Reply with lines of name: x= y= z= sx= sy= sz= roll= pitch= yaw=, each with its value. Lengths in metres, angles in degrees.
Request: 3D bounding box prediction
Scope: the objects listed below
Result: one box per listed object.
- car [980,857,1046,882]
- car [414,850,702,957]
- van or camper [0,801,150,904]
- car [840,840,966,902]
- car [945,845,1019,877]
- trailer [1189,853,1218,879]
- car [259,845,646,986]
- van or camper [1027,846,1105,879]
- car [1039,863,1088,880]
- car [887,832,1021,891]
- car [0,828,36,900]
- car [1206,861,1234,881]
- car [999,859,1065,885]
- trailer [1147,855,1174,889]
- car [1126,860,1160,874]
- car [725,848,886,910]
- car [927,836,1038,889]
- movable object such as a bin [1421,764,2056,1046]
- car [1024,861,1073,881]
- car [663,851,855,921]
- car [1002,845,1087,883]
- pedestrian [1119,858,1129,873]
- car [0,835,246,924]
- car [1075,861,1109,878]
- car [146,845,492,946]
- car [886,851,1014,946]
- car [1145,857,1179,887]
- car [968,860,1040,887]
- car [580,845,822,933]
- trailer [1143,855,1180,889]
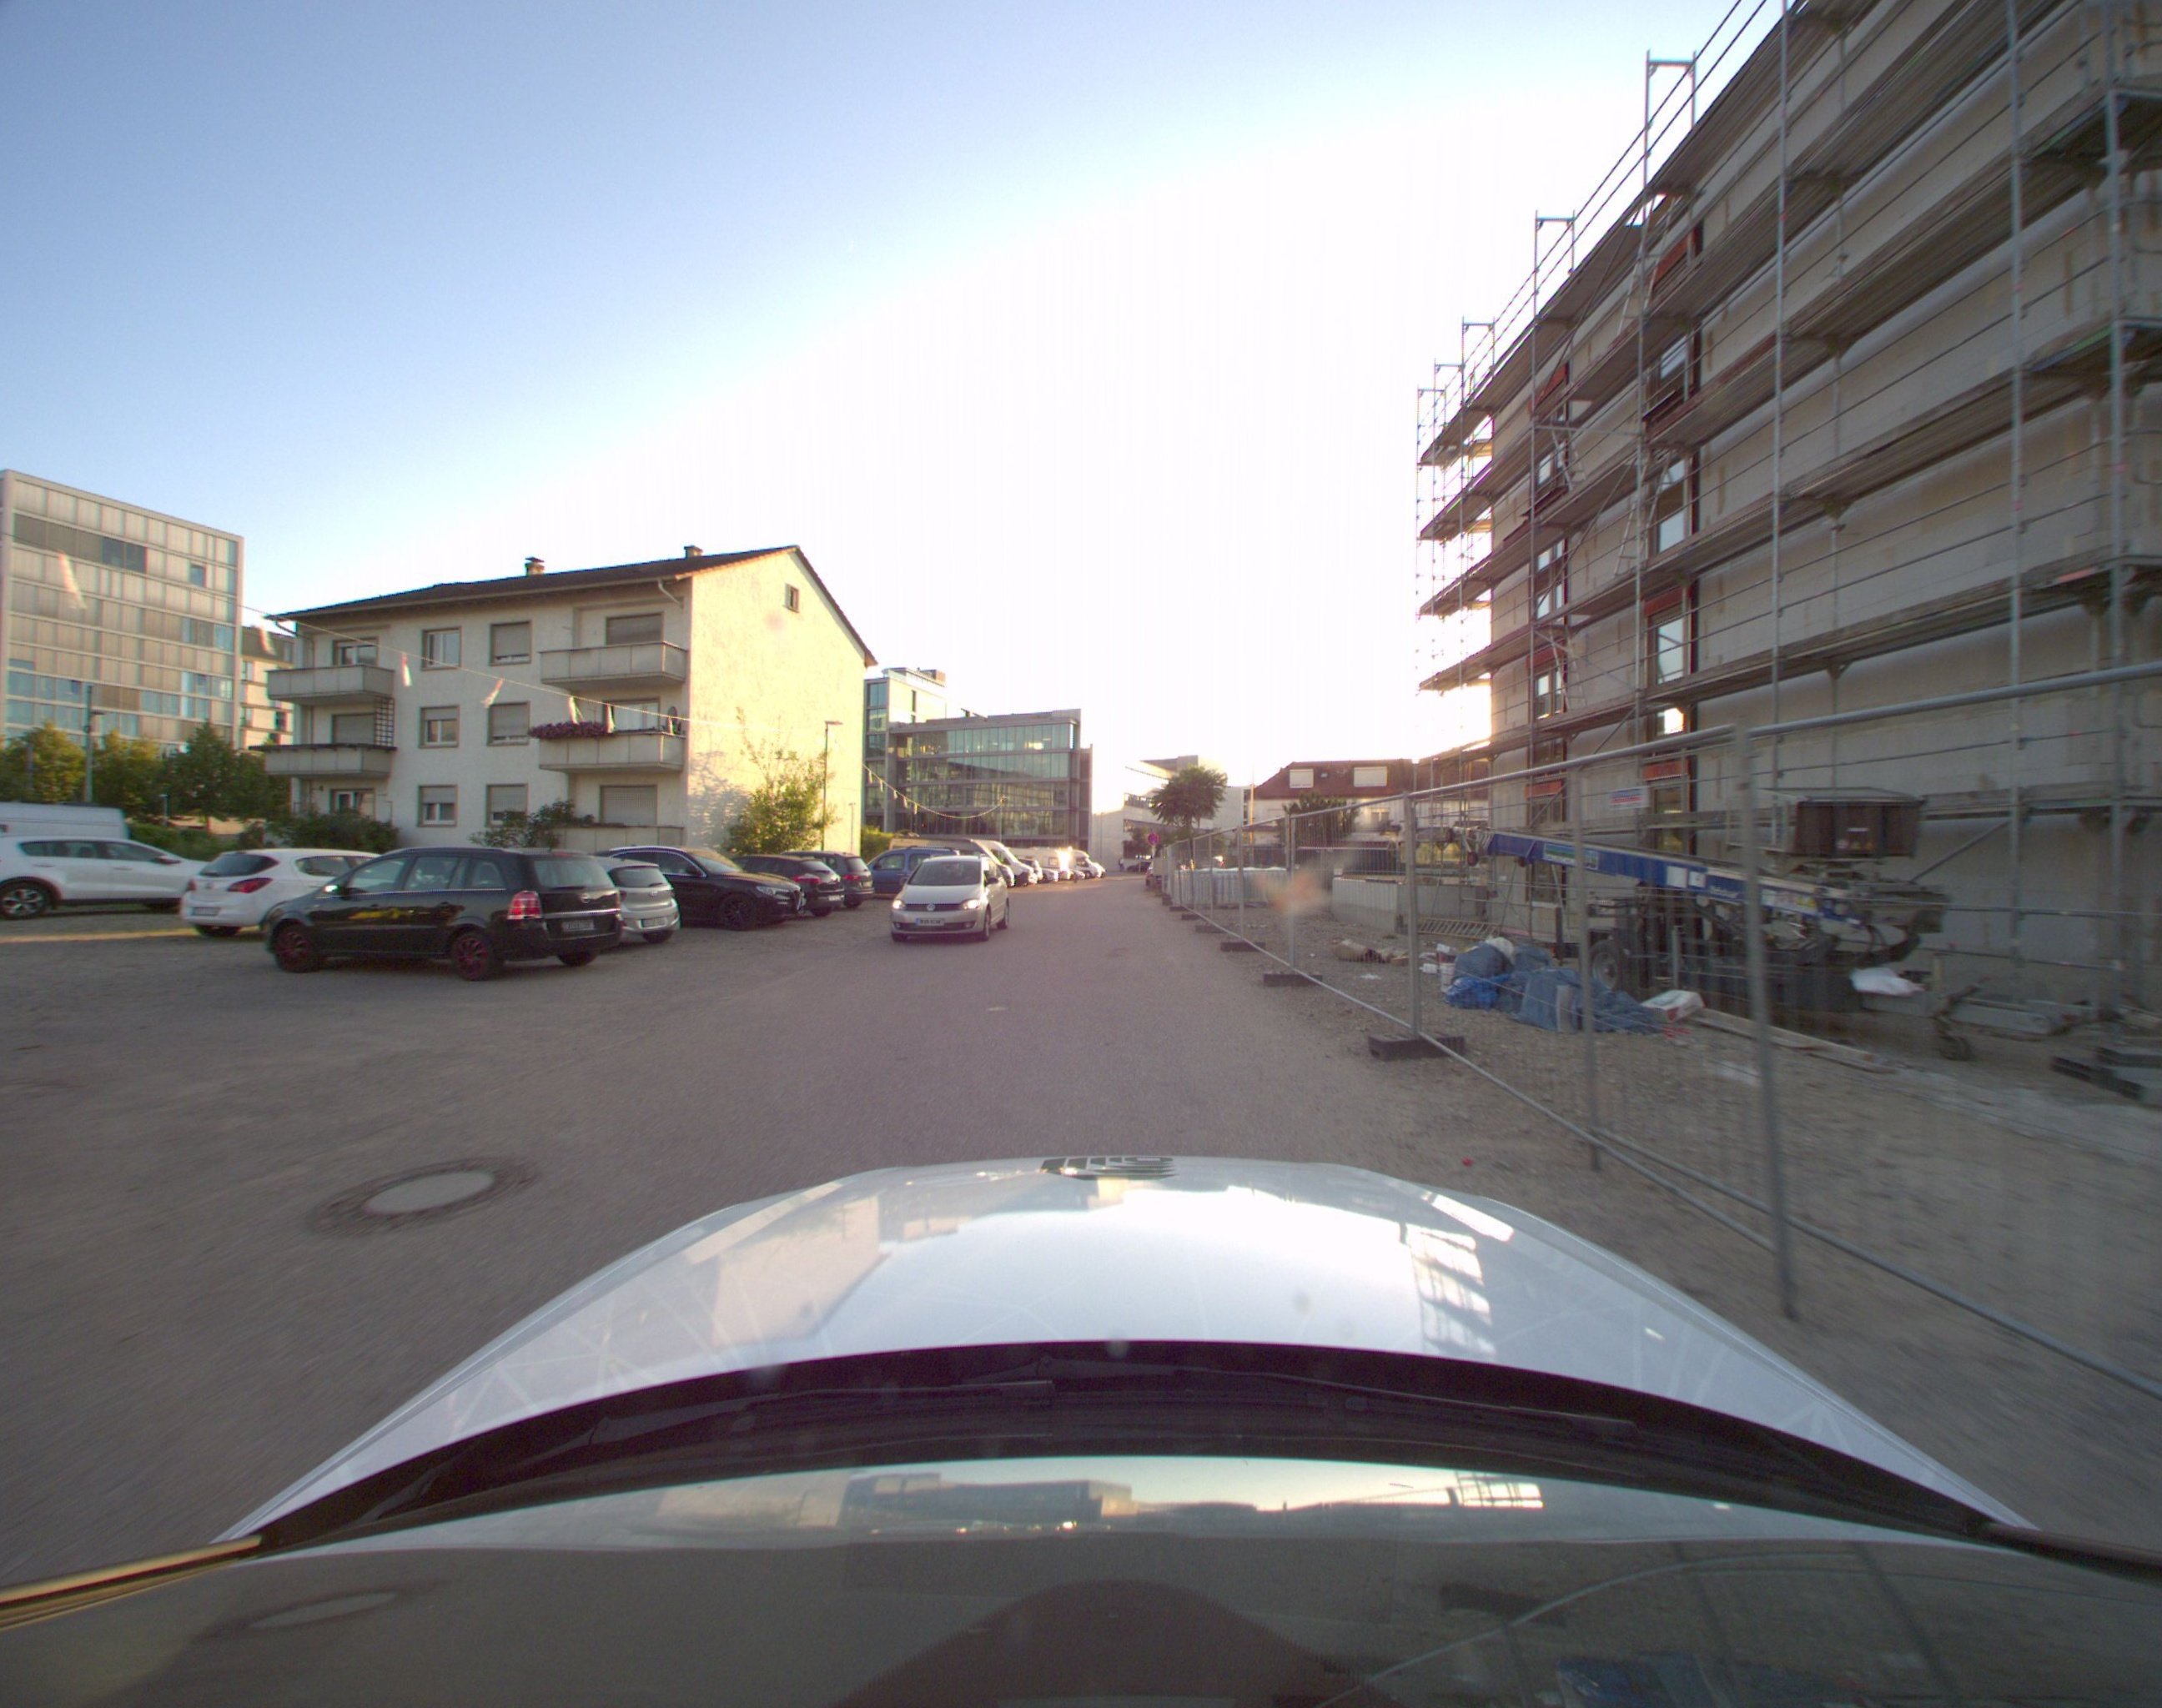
car: x=-4.462 y=1.003 z=53.489 sx=3.896 sy=1.591 sz=1.755 roll=1 pitch=-1 yaw=15
car: x=-8.783 y=0.758 z=13.823 sx=3.900 sy=1.521 sz=1.815 roll=2 pitch=1 yaw=11
van or camper: x=-25.939 y=-0.051 z=18.674 sx=1.829 sy=2.393 sz=5.709 roll=1 pitch=-1 yaw=18
car: x=-6.016 y=0.568 z=27.869 sx=3.920 sy=1.911 sz=1.745 roll=2 pitch=0 yaw=-6
car: x=-9.046 y=0.644 z=74.530 sx=6.193 sy=2.673 sz=2.233 roll=2 pitch=0 yaw=17
trailer: x=10.951 y=1.046 z=72.480 sx=2.050 sy=2.211 sz=5.241 roll=-1 pitch=-1 yaw=13
car: x=-8.275 y=0.729 z=10.890 sx=4.010 sy=1.620 sz=1.855 roll=1 pitch=-1 yaw=11
van or camper: x=-1.381 y=0.754 z=74.875 sx=6.694 sy=2.898 sz=2.417 roll=1 pitch=-1 yaw=13
car: x=-1.481 y=1.506 z=69.576 sx=3.784 sy=1.328 sz=1.698 roll=2 pitch=0 yaw=10
car: x=-6.448 y=0.395 z=41.913 sx=6.367 sy=2.713 sz=2.113 roll=3 pitch=-2 yaw=0
car: x=-28.195 y=0.223 z=19.236 sx=1.543 sy=1.807 sz=3.957 roll=1 pitch=-1 yaw=18
car: x=15.111 y=1.816 z=88.390 sx=2.048 sy=2.095 sz=4.897 roll=-1 pitch=-1 yaw=20
car: x=-3.363 y=1.213 z=56.168 sx=4.095 sy=1.591 sz=1.755 roll=2 pitch=0 yaw=15
trailer: x=4.117 y=0.923 z=42.376 sx=1.245 sy=1.665 sz=2.805 roll=-1 pitch=-1 yaw=3
car: x=7.468 y=1.529 z=97.864 sx=3.705 sy=1.482 sz=1.778 roll=1 pitch=1 yaw=18
car: x=-7.617 y=0.655 z=22.630 sx=3.900 sy=1.580 sz=1.648 roll=1 pitch=0 yaw=11
car: x=-5.507 y=0.457 z=45.959 sx=5.797 sy=2.713 sz=2.054 roll=2 pitch=0 yaw=5
movable object such as a bin: x=7.062 y=0.444 z=10.794 sx=2.056 sy=2.274 sz=8.375 roll=0 pitch=0 yaw=3
car: x=-2.572 y=1.337 z=64.607 sx=3.607 sy=1.519 sz=1.710 roll=2 pitch=0 yaw=9
car: x=-7.583 y=0.739 z=19.325 sx=3.900 sy=1.517 sz=1.648 roll=1 pitch=-2 yaw=11
car: x=-2.703 y=0.782 z=61.053 sx=5.847 sy=2.534 sz=2.420 roll=2 pitch=-2 yaw=13
pedestrian: x=5.263 y=1.469 z=100.781 sx=0.906 sy=1.850 sz=0.847 roll=0 pitch=0 yaw=-35
car: x=-20.348 y=0.482 z=16.517 sx=1.829 sy=1.631 sz=4.336 roll=1 pitch=-1 yaw=18
car: x=1.093 y=1.476 z=78.237 sx=1.672 sy=1.519 sz=4.385 roll=1 pitch=-1 yaw=23
car: x=-13.345 y=0.663 z=14.676 sx=1.830 sy=1.523 sz=4.166 roll=1 pitch=-1 yaw=14
car: x=-2.442 y=0.784 z=16.215 sx=1.664 sy=1.620 sz=4.287 roll=1 pitch=-1 yaw=2
car: x=5.205 y=1.120 z=51.867 sx=1.795 sy=1.725 sz=4.941 roll=-2 pitch=-1 yaw=9
car: x=-4.543 y=1.133 z=48.258 sx=3.903 sy=1.507 sz=1.793 roll=1 pitch=-1 yaw=8
car: x=-7.635 y=0.663 z=16.609 sx=4.070 sy=1.627 sz=1.823 roll=0 pitch=1 yaw=4
trailer: x=4.613 y=0.988 z=46.135 sx=1.721 sy=1.777 sz=4.949 roll=-1 pitch=-1 yaw=9
